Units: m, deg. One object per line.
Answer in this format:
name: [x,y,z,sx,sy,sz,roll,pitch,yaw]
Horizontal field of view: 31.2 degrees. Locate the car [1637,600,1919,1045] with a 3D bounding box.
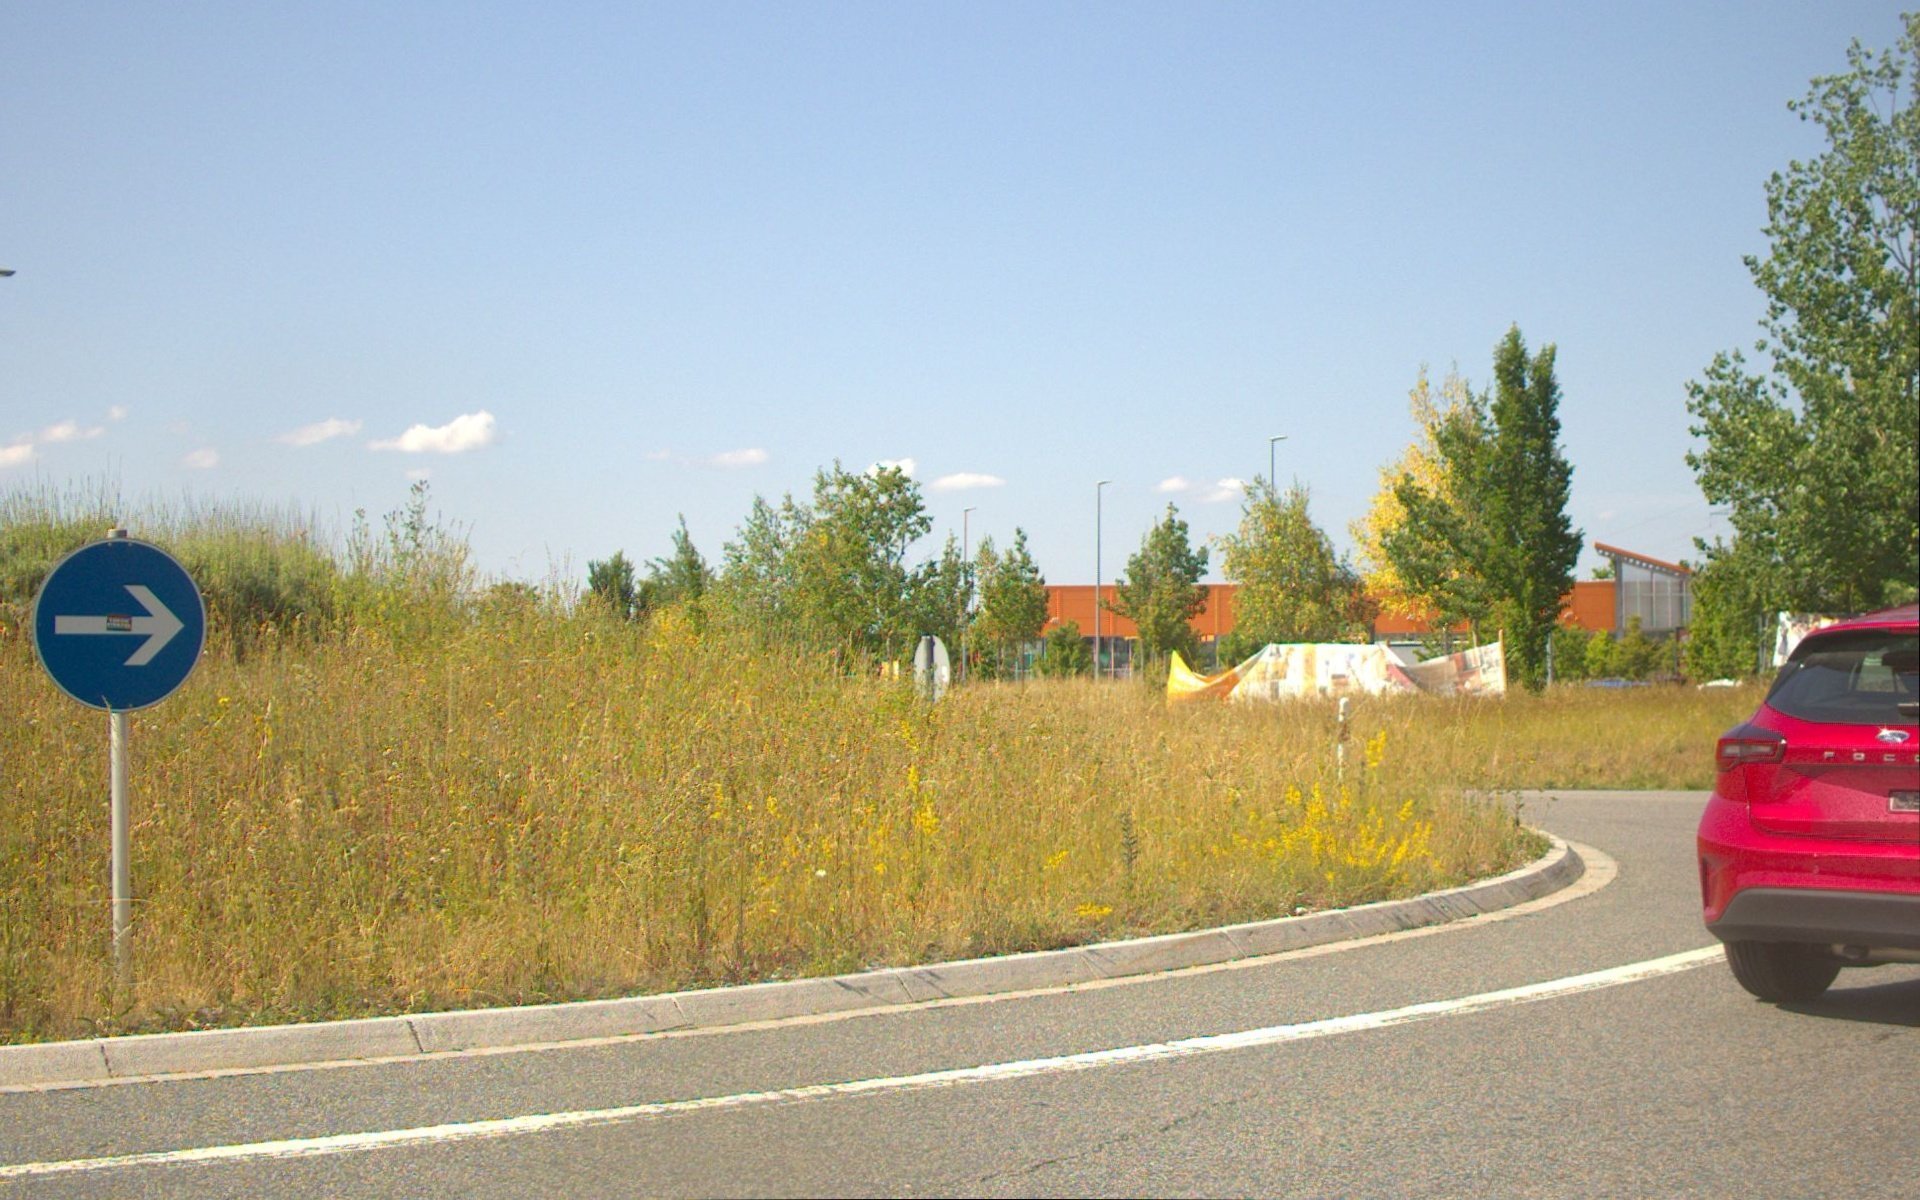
car: [4.351,0.708,12.506,1.807,1.411,4.107,-1,0,43]
